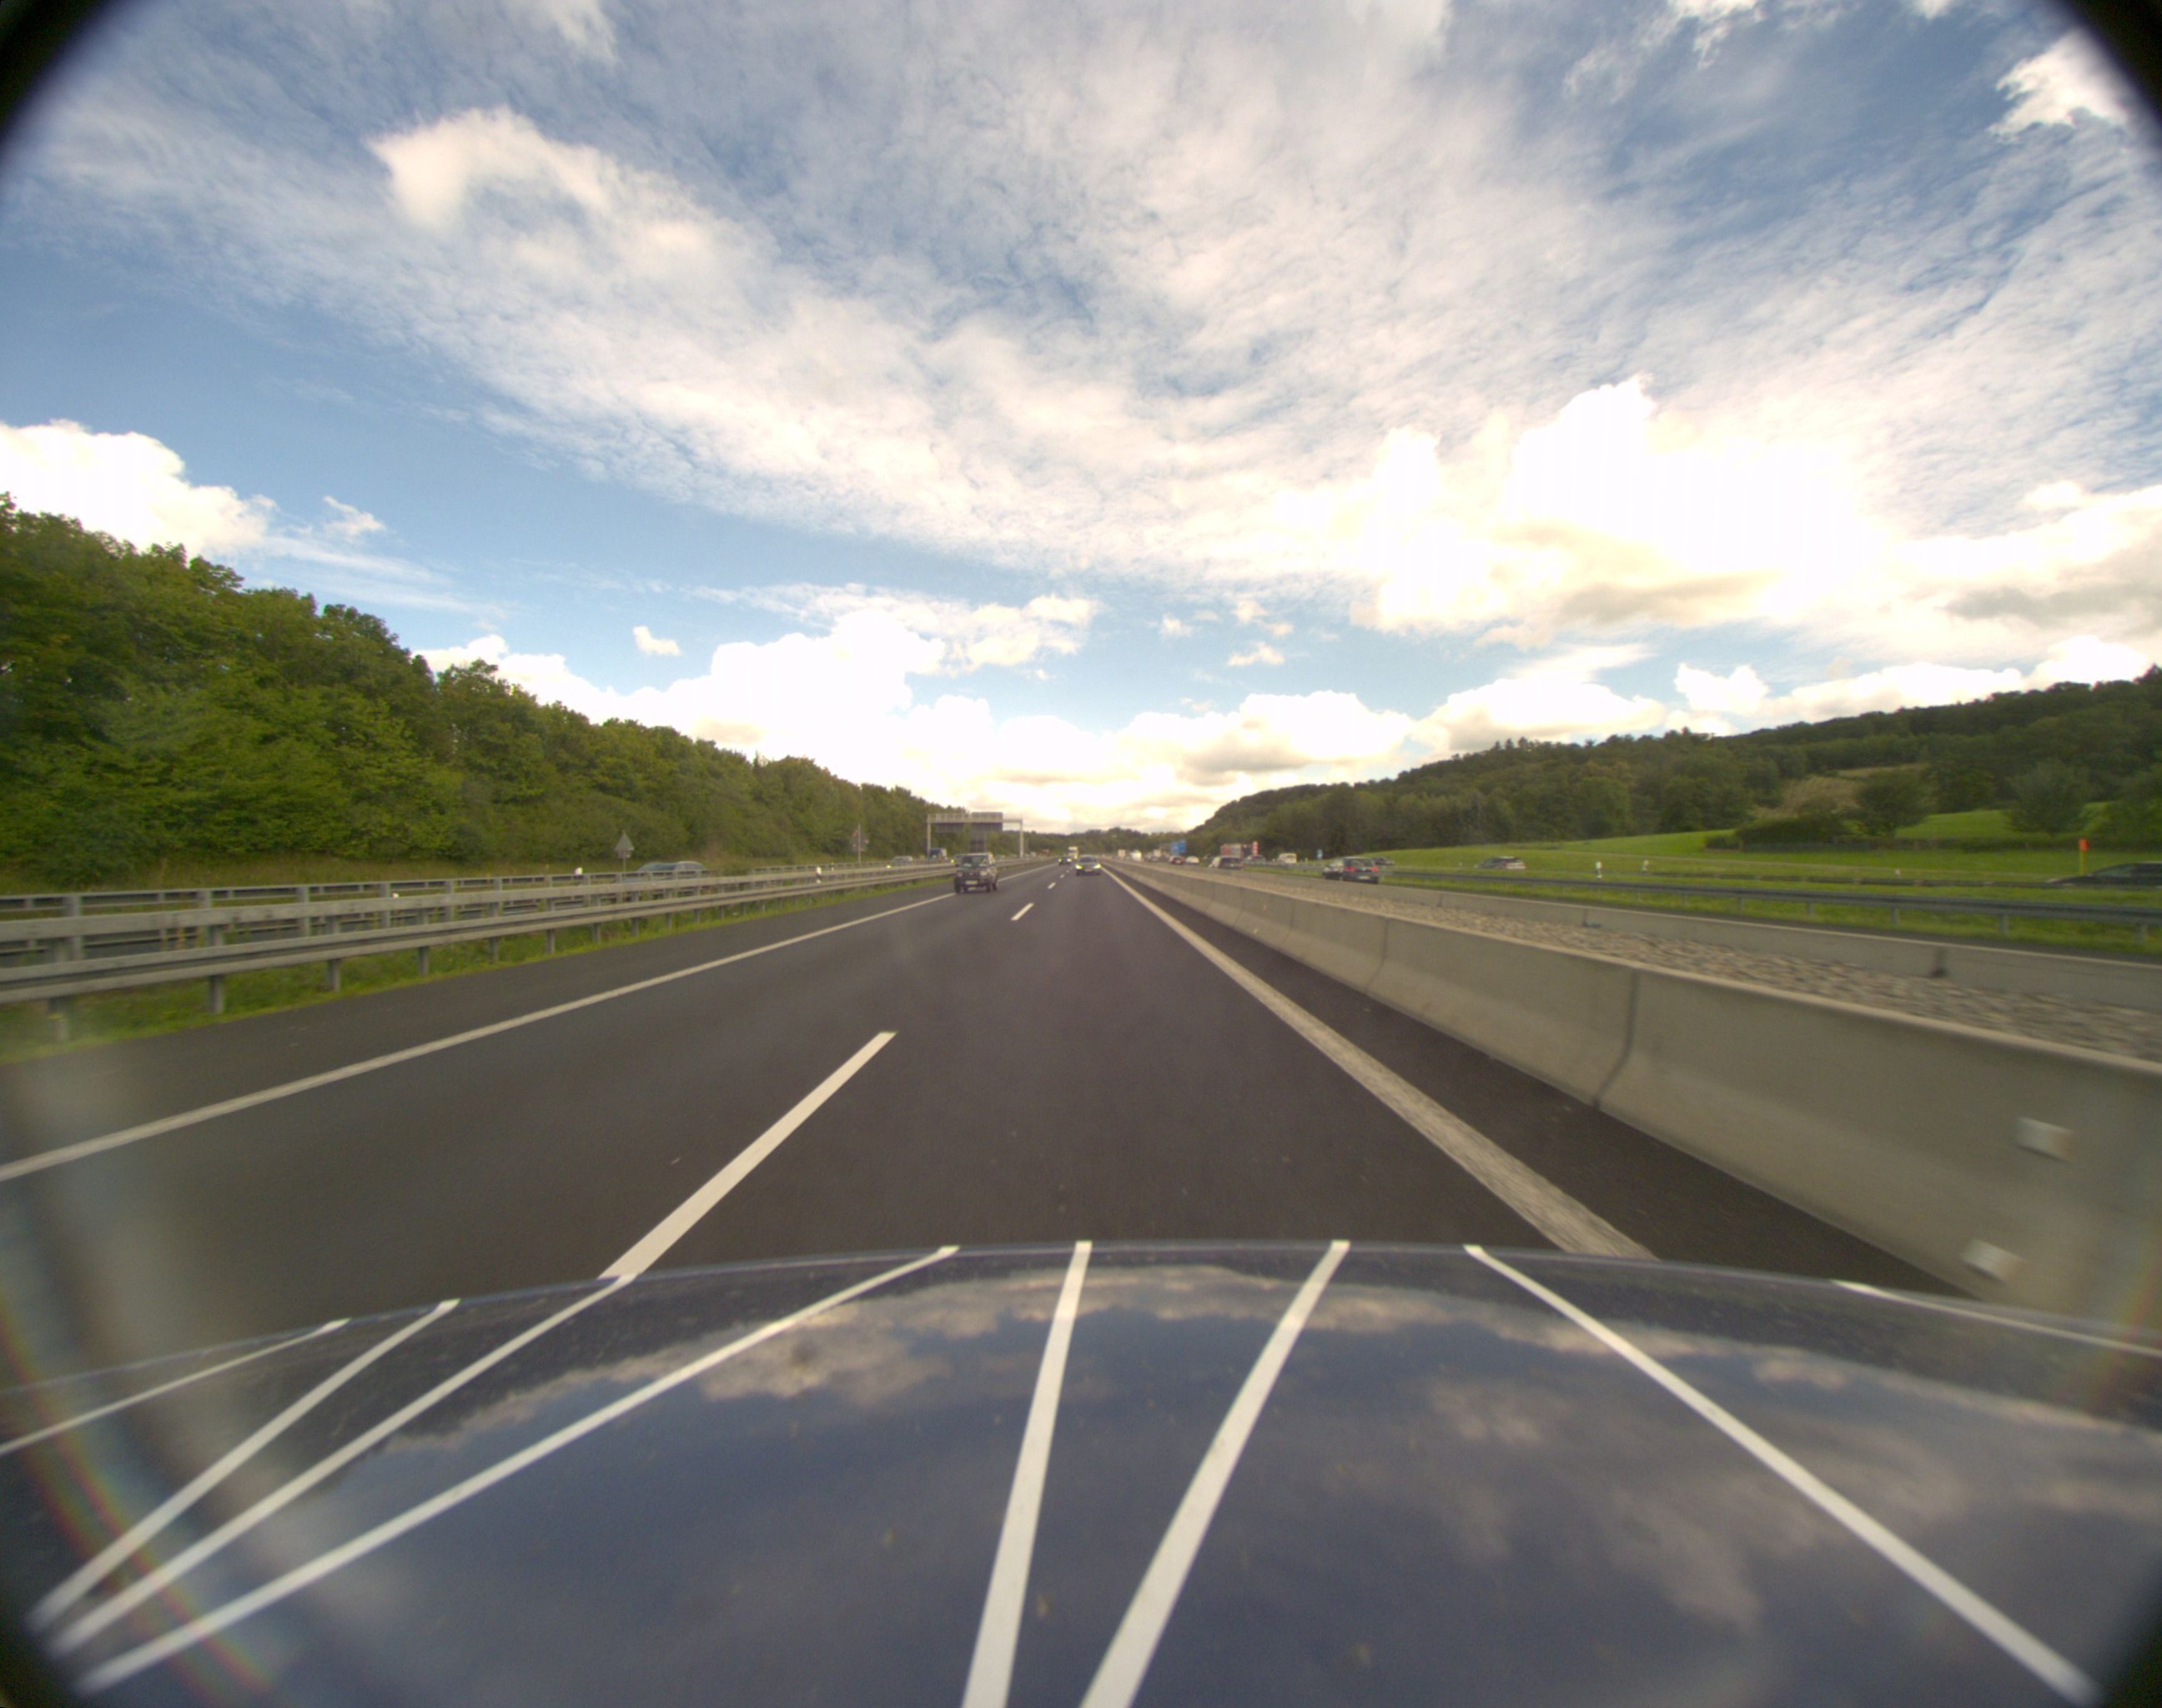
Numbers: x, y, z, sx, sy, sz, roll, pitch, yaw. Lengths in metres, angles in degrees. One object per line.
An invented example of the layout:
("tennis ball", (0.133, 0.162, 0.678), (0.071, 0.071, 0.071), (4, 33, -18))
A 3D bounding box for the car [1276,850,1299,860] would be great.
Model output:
("car", (31.472, 0.153, 115.948), (1.777, 1.539, 4.887), (0, 1, -5))

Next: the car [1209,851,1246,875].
("car", (9.255, 0.551, 48.173), (1.646, 1.390, 3.741), (1, 1, 0))

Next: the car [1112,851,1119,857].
("car", (10.128, -0.006, 222.603), (1.932, 1.608, 5.418), (1, 1, 1))

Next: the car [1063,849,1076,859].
("car", (-1.844, 0.018, 125.927), (1.998, 1.591, 4.000), (1, 1, 2))

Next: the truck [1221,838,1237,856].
("truck", (31.191, -1.481, 160.303), (1.999, 3.740, 5.147), (0, 1, -4))

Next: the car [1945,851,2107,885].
("car", (46.901, 0.648, 37.914), (1.777, 1.539, 4.887), (0, 1, -5))

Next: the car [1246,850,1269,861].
("car", (24.930, 0.196, 107.399), (1.777, 1.539, 4.887), (0, 1, -5))

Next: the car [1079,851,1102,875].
("car", (0.758, 0.672, 58.155), (1.724, 1.722, 3.939), (0, 1, 2))

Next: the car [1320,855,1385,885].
("car", (13.412, 0.753, 37.774), (1.732, 1.390, 4.158), (1, 1, 0))

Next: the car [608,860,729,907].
("car", (-14.737, 1.011, 27.458), (1.999, 1.476, 4.310), (-1, 1, 0))

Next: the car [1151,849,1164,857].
("car", (14.940, -0.212, 148.225), (1.998, 1.523, 4.506), (1, 1, 0))

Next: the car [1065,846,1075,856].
("car", (-2.287, -0.642, 156.650), (1.998, 2.002, 3.999), (1, 1, 0))

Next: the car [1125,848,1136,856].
("car", (10.195, -0.435, 156.780), (1.998, 1.523, 5.020), (1, 1, 0))

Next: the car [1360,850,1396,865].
("car", (33.368, 0.394, 85.496), (1.777, 1.539, 4.887), (0, 1, -5))

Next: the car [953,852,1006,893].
("car", (-4.530, 0.800, 34.536), (1.670, 1.722, 4.207), (0, 1, 2))

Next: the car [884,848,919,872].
("car", (-15.060, 0.478, 63.995), (1.998, 2.002, 4.000), (1, 1, 1))

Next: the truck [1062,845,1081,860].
("truck", (-2.855, -0.573, 236.014), (4.947, 4.306, 14.630), (1, 1, 2))

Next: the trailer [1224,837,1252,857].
("trailer", (31.605, -1.407, 153.578), (1.999, 3.715, 13.239), (0, 1, -3))

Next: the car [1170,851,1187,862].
("car", (13.839, 0.360, 108.085), (1.758, 1.394, 4.691), (1, 1, 1))

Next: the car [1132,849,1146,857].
("car", (10.324, -0.189, 135.670), (1.998, 1.523, 5.747), (1, 1, 0))

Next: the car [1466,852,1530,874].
("car", (31.093, 0.635, 56.779), (1.777, 1.539, 4.887), (0, 1, -5))

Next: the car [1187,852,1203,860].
("car", (21.363, 0.419, 142.726), (1.778, 1.392, 4.395), (0, 1, -7))

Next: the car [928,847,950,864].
("car", (-18.654, 0.127, 100.039), (1.999, 2.173, 5.127), (-1, 1, 0))
